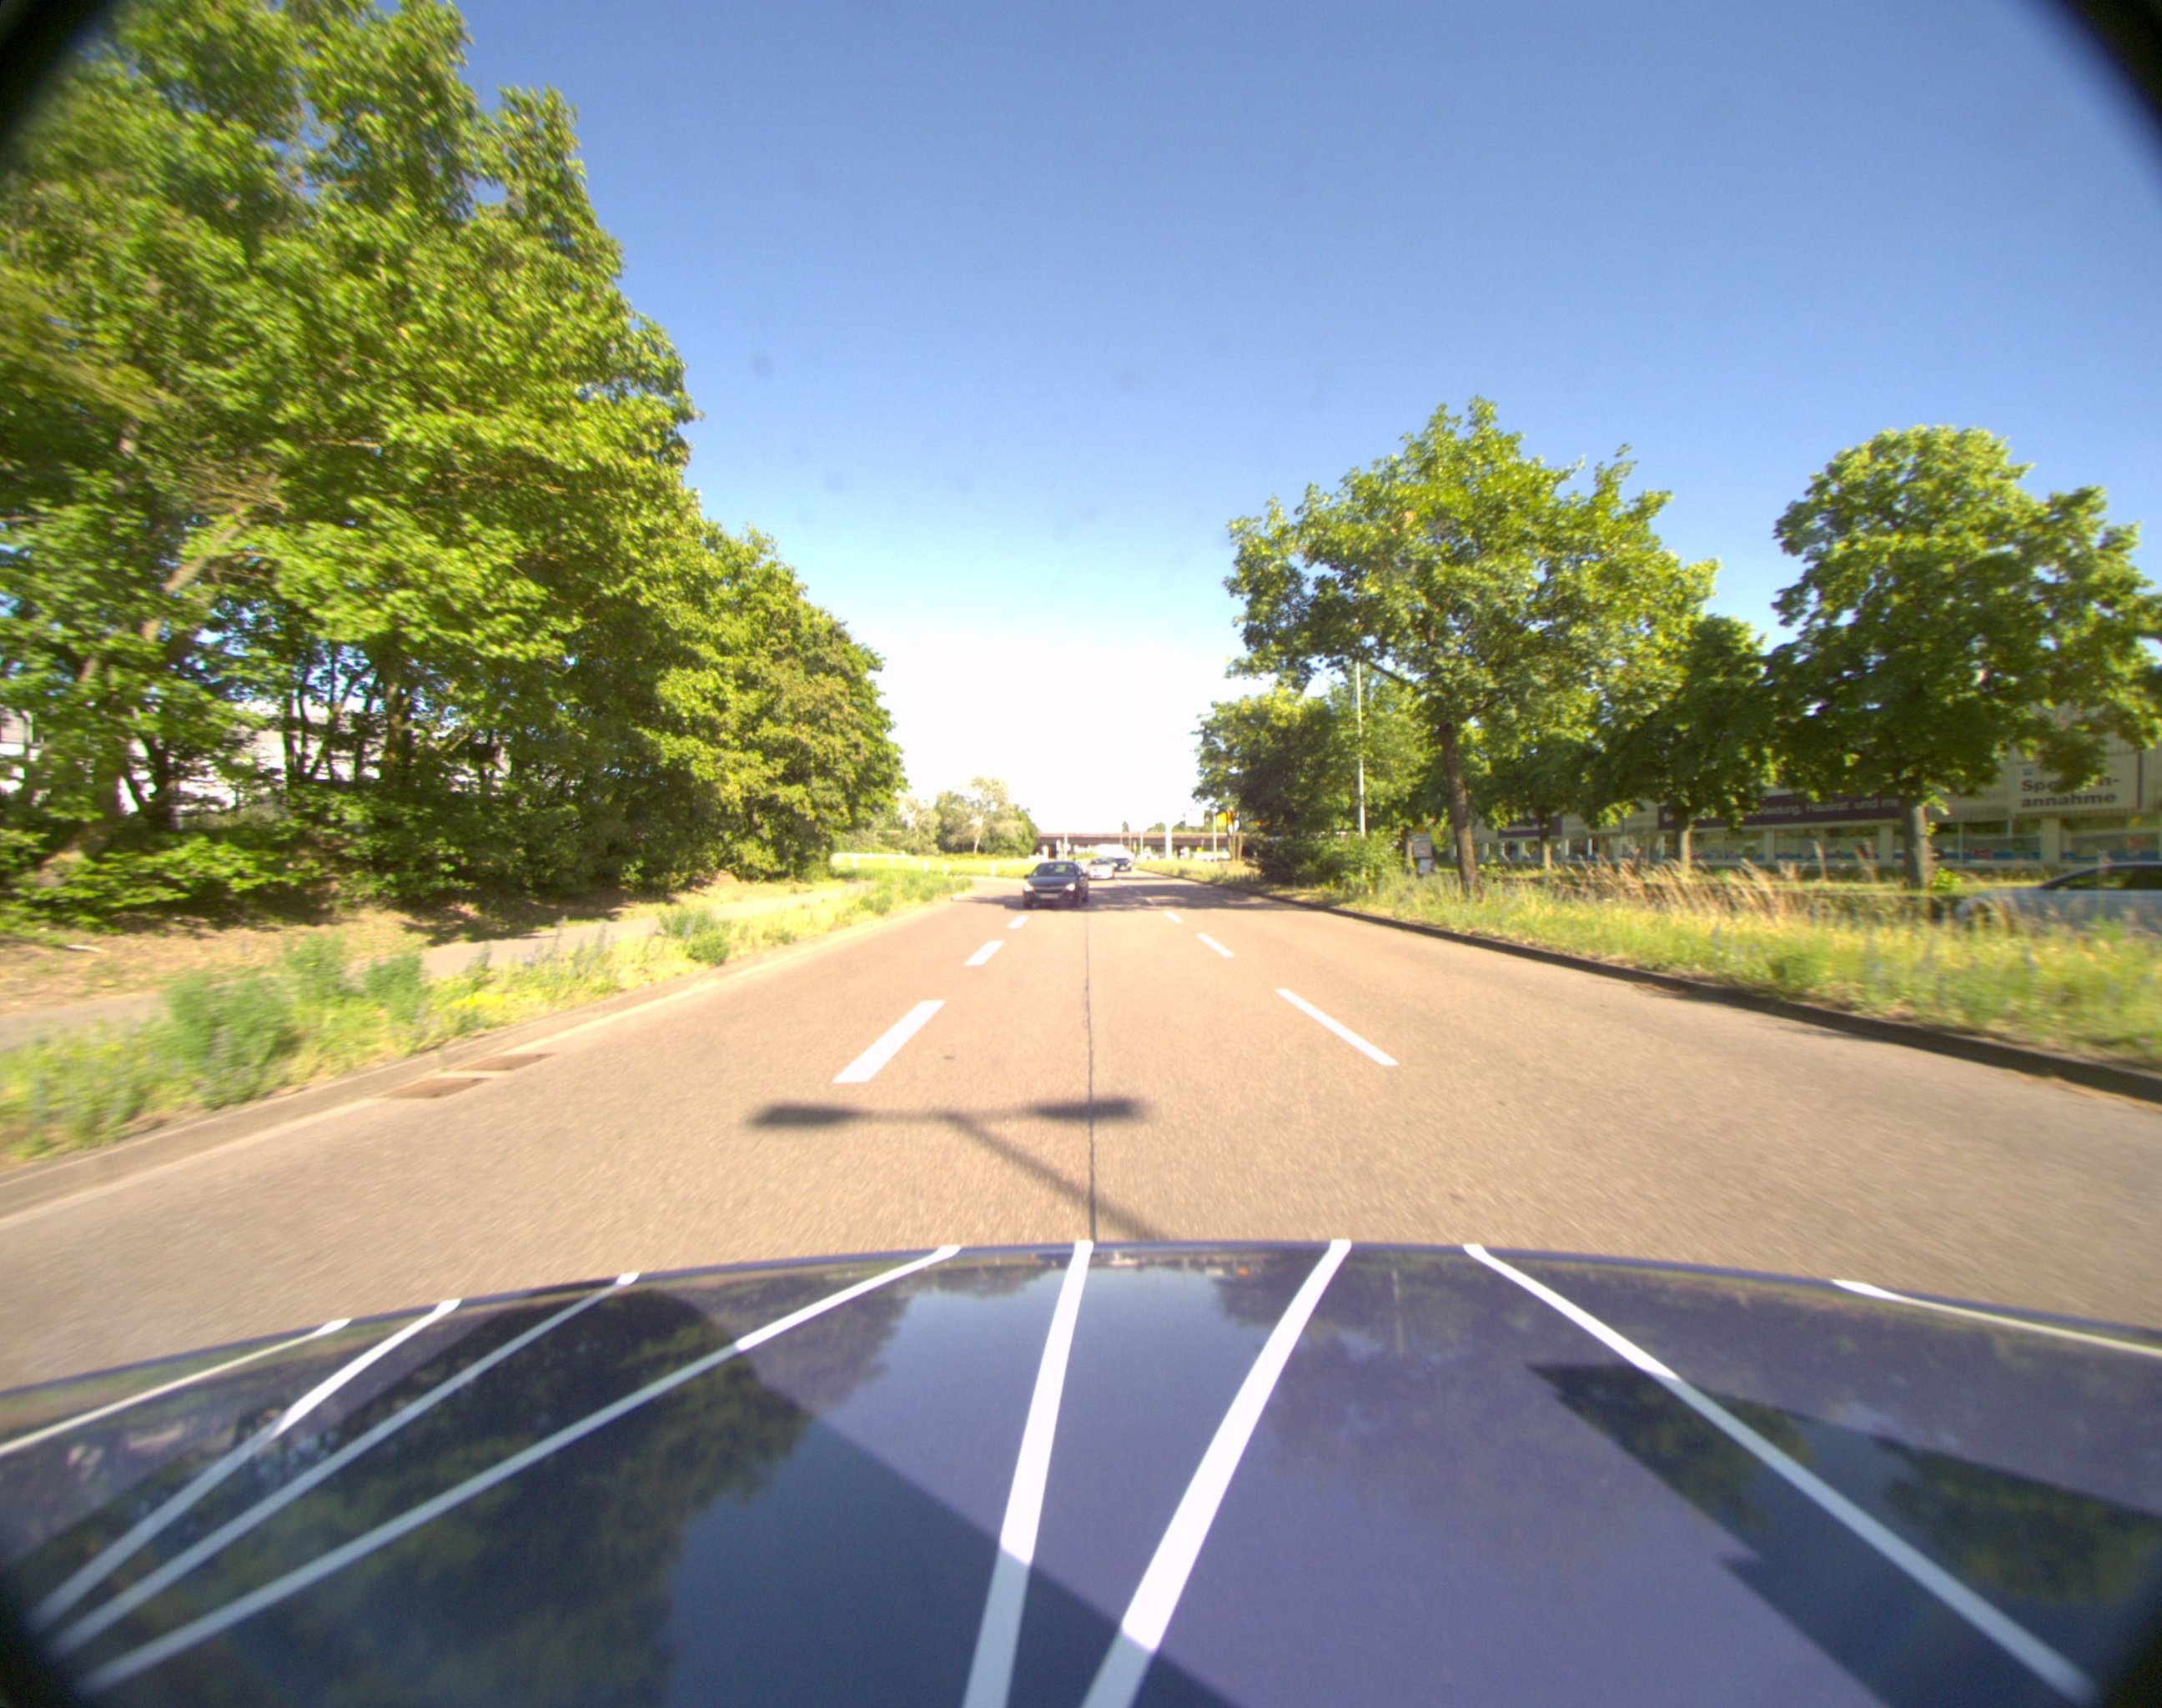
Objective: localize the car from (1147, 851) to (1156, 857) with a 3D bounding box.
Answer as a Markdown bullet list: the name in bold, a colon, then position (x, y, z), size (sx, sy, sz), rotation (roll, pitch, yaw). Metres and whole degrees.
- **car**: position (17.881, -0.098, 194.102), size (1.881, 1.534, 4.572), rotation (1, 0, 1)

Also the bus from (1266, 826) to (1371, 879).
- **bus**: position (13.890, -0.072, 45.631), size (2.728, 2.705, 11.087), rotation (2, 0, 0)

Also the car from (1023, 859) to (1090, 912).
- **car**: position (-0.707, 0.942, 24.299), size (1.706, 1.447, 3.960), rotation (-1, 0, 4)

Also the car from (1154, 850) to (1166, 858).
- **car**: position (16.705, -0.052, 161.245), size (1.947, 1.687, 4.629), rotation (1, 0, 0)

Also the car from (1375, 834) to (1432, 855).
- **car**: position (38.731, -1.110, 91.331), size (5.894, 2.419, 2.206), rotation (0, 0, -3)

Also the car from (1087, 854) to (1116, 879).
- **car**: position (1.296, 0.805, 49.943), size (1.827, 1.528, 4.042), rotation (-1, 1, 0)

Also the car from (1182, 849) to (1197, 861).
- **car**: position (17.336, 0.148, 121.269), size (1.711, 1.736, 4.165), rotation (-1, 0, -1)

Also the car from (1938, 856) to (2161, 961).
- **car**: position (16.366, 0.809, 11.467), size (1.760, 1.511, 4.529), rotation (2, 0, 1)

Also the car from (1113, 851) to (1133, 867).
- **car**: position (4.146, 0.438, 75.316), size (1.827, 1.528, 4.042), rotation (-1, 1, 0)
